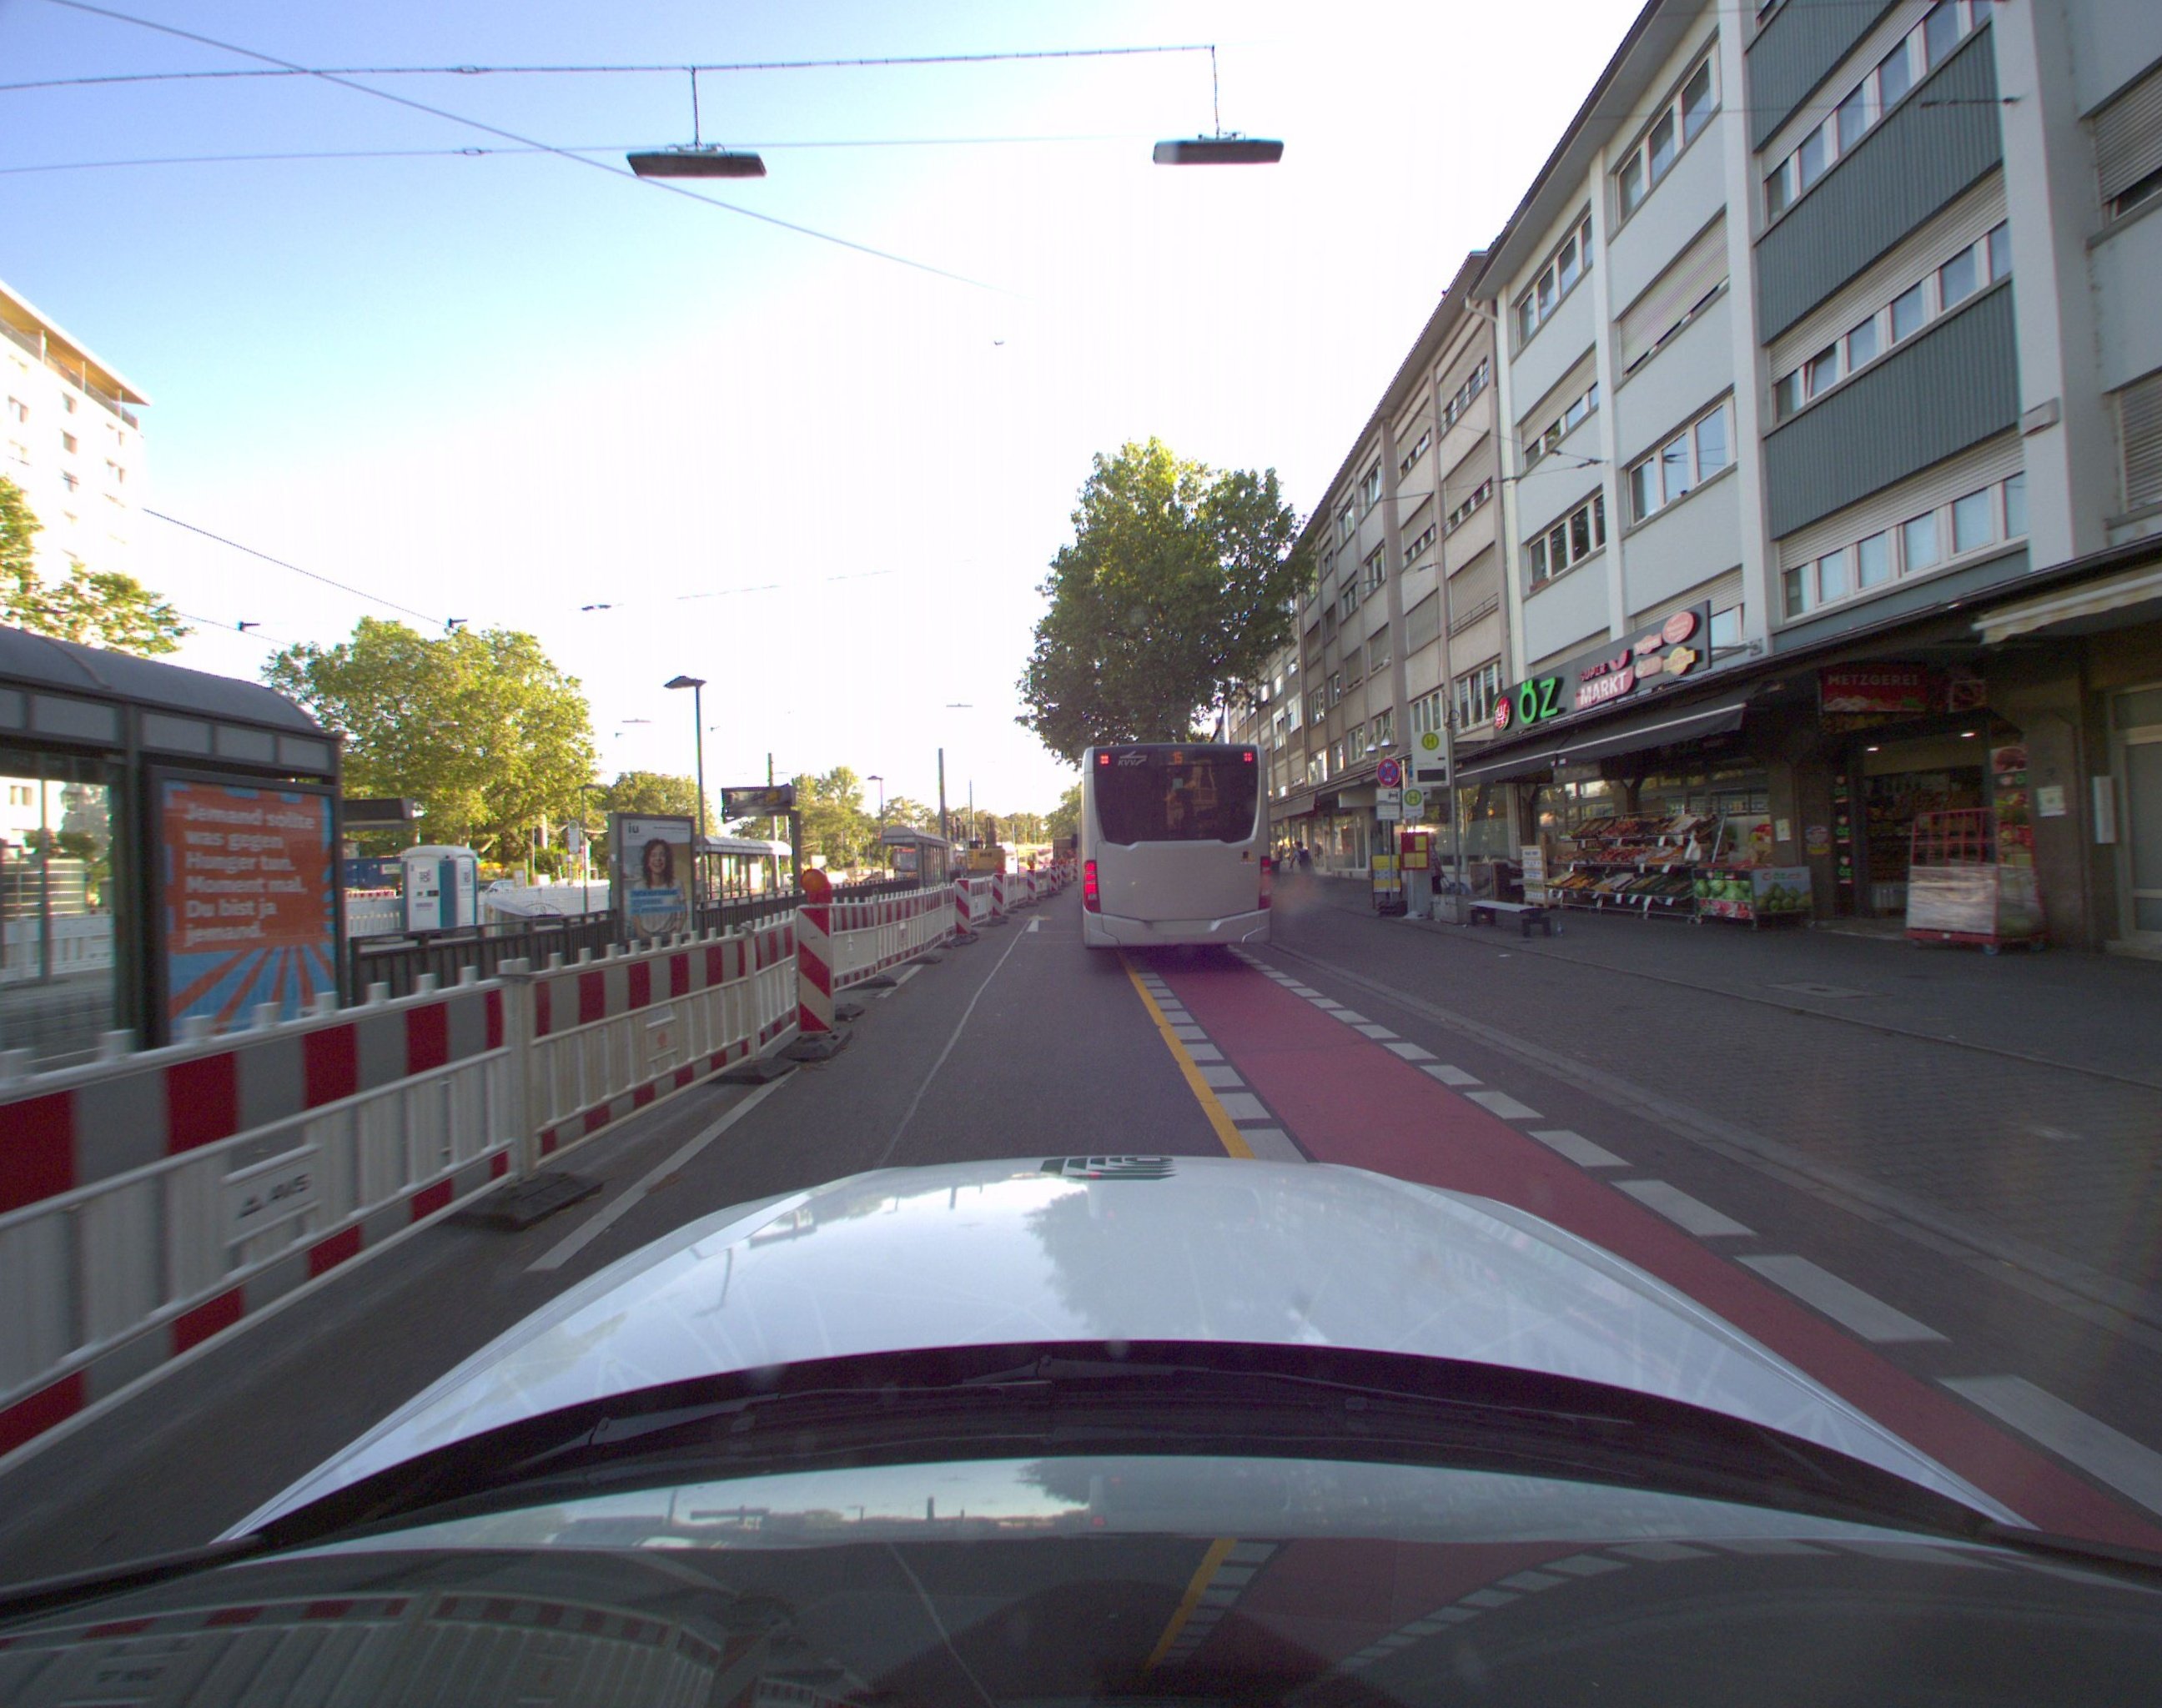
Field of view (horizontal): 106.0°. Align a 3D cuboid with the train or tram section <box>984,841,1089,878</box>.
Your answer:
[{"bbox_3d":[-4.439,0.449,86.361,2.822,3.533,13.482,-2,-1,38],"label":"train or tram section"}]

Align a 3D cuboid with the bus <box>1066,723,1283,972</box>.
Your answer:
[{"bbox_3d":[1.224,-0.077,15.871,2.724,3.139,10.701,-2,0,0],"label":"bus"}]

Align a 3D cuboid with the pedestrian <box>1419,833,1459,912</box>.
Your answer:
[{"bbox_3d":[7.769,0.397,17.671,0.641,1.673,0.557,-2,-1,12],"label":"pedestrian"}]

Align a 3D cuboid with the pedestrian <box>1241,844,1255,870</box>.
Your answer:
[{"bbox_3d":[10.314,0.194,50.320,0.630,1.573,0.774,-5,0,0],"label":"pedestrian"}]

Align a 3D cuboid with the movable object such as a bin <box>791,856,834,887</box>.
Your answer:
[{"bbox_3d":[-24.436,1.568,74.260,2.142,2.639,4.602,-2,0,2],"label":"movable object such as a bin"}]

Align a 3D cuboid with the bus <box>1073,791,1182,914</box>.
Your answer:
[{"bbox_3d":[1.180,-0.011,25.709,2.700,3.107,8.975,-2,0,-1],"label":"bus"}]

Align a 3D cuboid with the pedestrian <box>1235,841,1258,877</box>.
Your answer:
[{"bbox_3d":[9.267,0.276,45.670,0.835,1.869,1.099,-7,0,0],"label":"pedestrian"}]

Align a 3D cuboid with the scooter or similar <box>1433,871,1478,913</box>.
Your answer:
[{"bbox_3d":[7.834,0.782,17.065,0.574,0.844,0.733,-2,-1,-2],"label":"scooter or similar"}]

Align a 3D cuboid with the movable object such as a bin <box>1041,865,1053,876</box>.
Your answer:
[{"bbox_3d":[-3.053,1.443,73.100,0.929,0.917,1.421,-2,-1,3],"label":"movable object such as a bin"}]

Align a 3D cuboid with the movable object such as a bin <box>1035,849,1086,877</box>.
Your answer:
[{"bbox_3d":[-1.653,0.719,68.846,1.975,2.256,5.239,-1,0,27],"label":"movable object such as a bin"}]

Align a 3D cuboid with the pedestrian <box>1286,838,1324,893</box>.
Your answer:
[{"bbox_3d":[7.055,0.356,25.657,0.840,1.673,0.990,-4,0,0],"label":"pedestrian"}]

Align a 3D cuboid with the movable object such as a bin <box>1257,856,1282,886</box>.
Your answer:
[{"bbox_3d":[7.181,0.640,31.051,0.671,1.075,1.228,-3,1,1],"label":"movable object such as a bin"}]

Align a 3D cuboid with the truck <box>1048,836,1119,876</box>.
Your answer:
[{"bbox_3d":[0.384,0.140,78.534,2.785,3.541,9.038,-2,0,28],"label":"truck"}]

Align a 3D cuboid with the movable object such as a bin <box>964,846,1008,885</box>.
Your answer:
[{"bbox_3d":[-6.221,0.738,53.835,2.639,2.318,4.893,-2,0,-5],"label":"movable object such as a bin"}]
